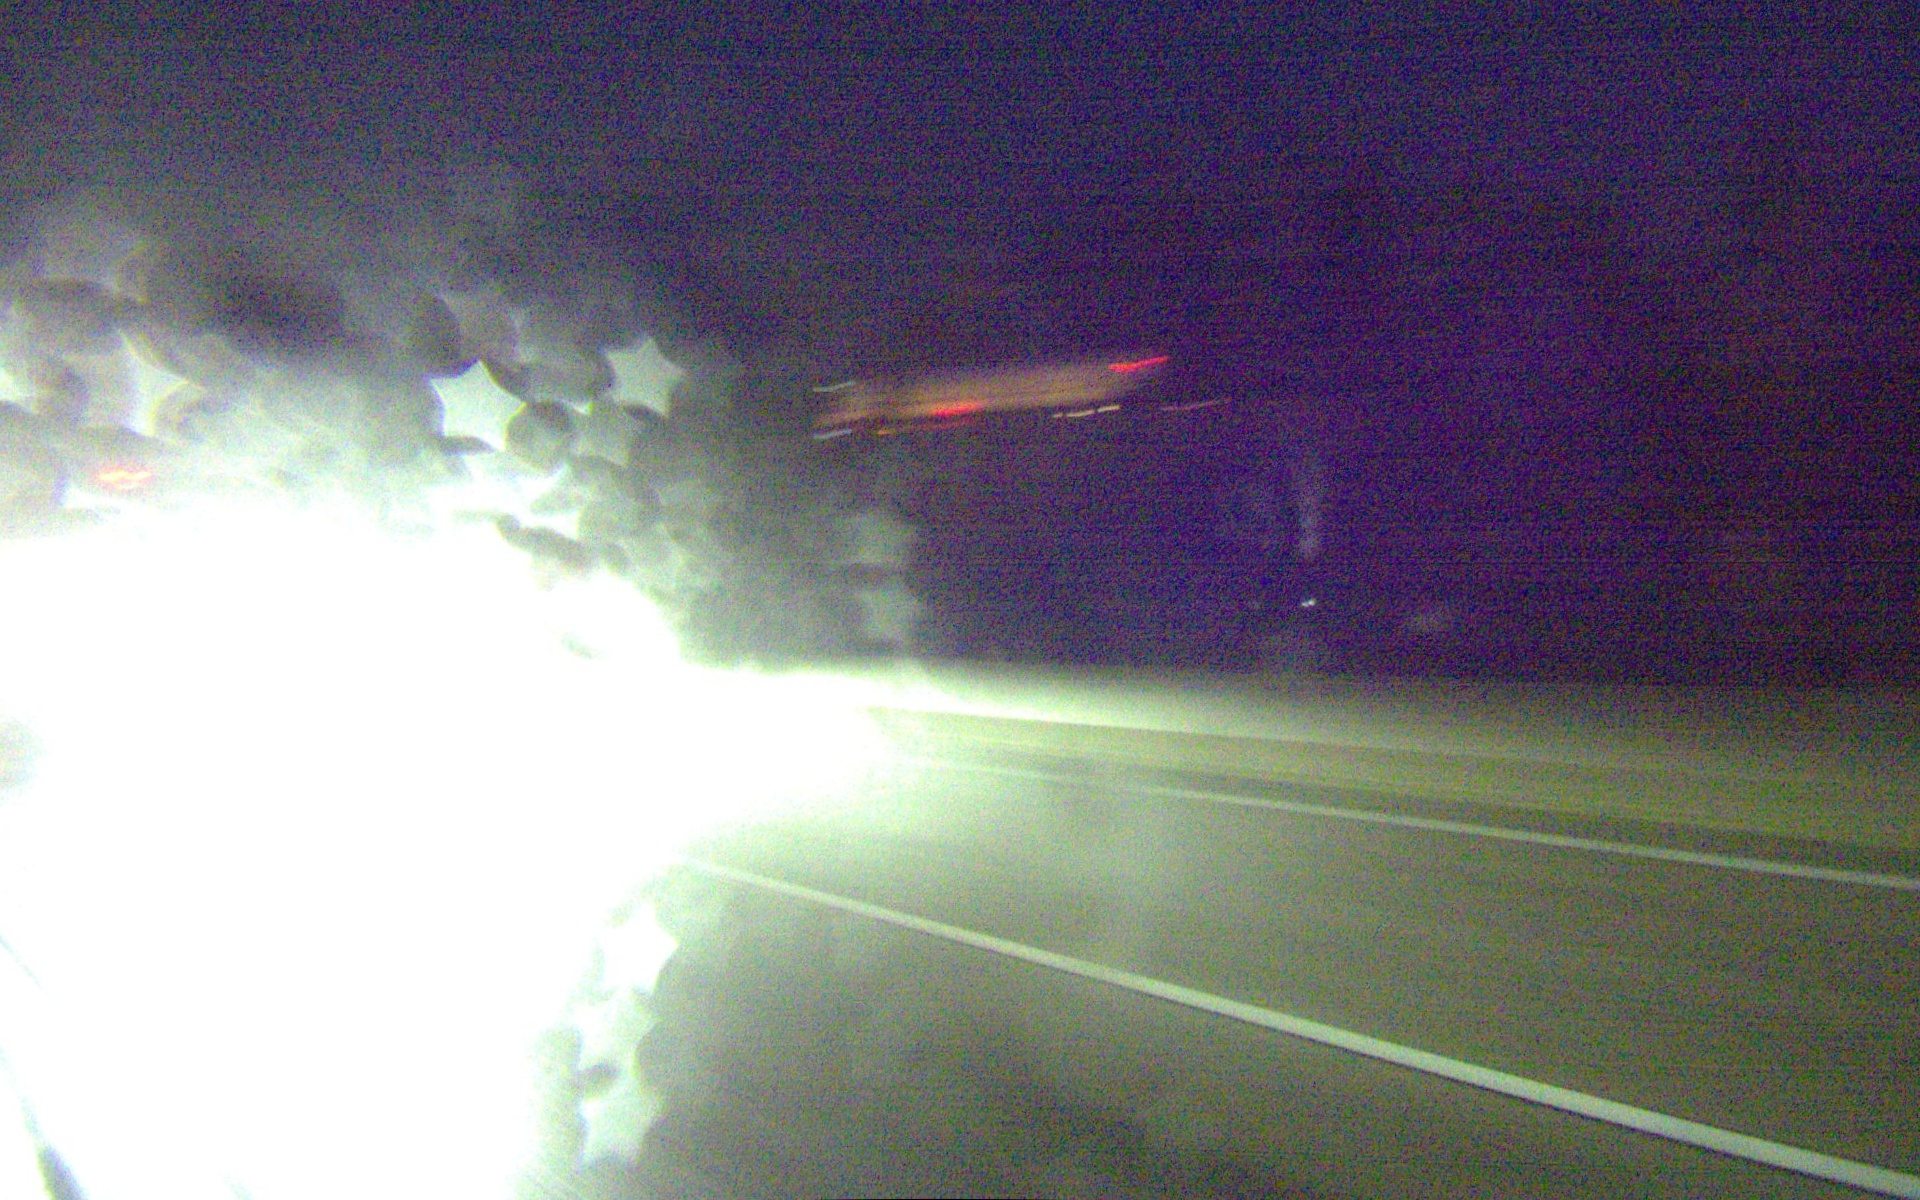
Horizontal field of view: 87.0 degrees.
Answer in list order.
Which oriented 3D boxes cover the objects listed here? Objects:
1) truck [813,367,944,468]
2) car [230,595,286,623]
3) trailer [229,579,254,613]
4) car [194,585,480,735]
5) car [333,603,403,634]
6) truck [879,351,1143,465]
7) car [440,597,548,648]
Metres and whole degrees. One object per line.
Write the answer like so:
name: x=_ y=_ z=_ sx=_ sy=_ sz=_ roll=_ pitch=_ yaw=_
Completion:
truck: x=-3.639 y=-8.071 z=45.305 sx=5.386 sy=3.808 sz=2.403 roll=0 pitch=0 yaw=19
car: x=-39.556 y=0.484 z=57.015 sx=3.999 sy=1.504 sz=1.724 roll=-1 pitch=0 yaw=42
trailer: x=-112.186 y=-0.668 z=157.935 sx=2.738 sy=5.012 sz=14.138 roll=0 pitch=1 yaw=-37
car: x=-9.643 y=0.733 z=15.440 sx=5.551 sy=1.898 sz=2.115 roll=1 pitch=1 yaw=40
car: x=-29.809 y=0.914 z=50.922 sx=4.000 sy=1.504 sz=1.972 roll=-1 pitch=0 yaw=43
truck: x=2.091 y=-8.058 z=43.367 sx=11.143 sy=3.808 sz=2.403 roll=0 pitch=0 yaw=19
car: x=-15.042 y=0.696 z=32.583 sx=3.999 sy=1.504 sz=1.724 roll=-1 pitch=0 yaw=42
